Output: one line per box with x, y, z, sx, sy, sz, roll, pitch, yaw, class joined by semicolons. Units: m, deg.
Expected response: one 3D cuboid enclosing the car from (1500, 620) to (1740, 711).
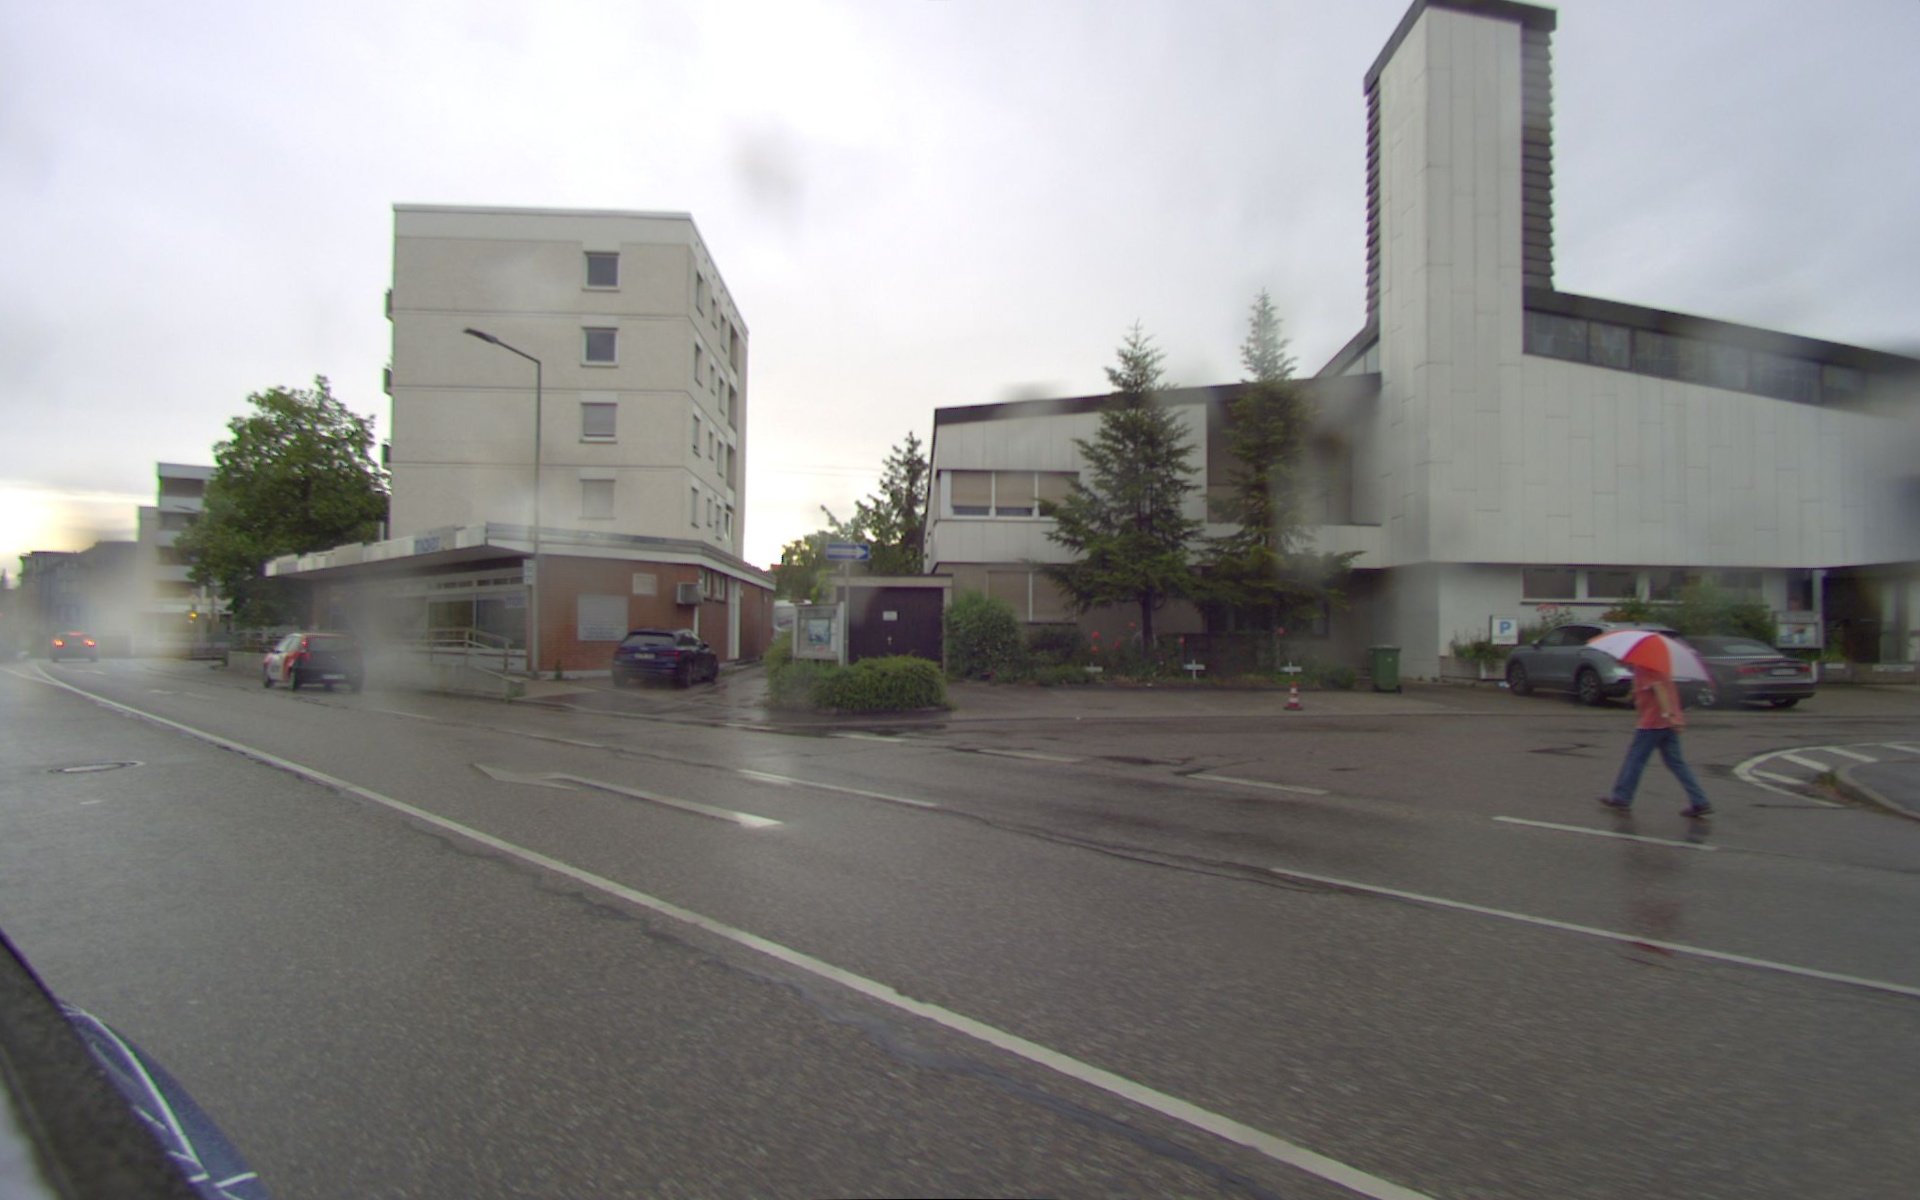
13.061;1.237;20.444;2.104;1.627;4.383;0;-2;3;car

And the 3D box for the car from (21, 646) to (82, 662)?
-93.300;5.553;103.954;4.557;1.508;1.931;2;-4;-44;car

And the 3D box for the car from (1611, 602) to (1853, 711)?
15.735;1.127;20.949;1.973;2.029;3.997;0;-2;2;car

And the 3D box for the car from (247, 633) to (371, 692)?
-17.138;1.659;26.576;3.999;1.420;1.679;-3;-6;42;car

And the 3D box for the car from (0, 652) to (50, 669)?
-98.462;6.266;105.136;5.388;1.697;2.153;0;-3;-14;car

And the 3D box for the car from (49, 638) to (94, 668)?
-48.563;2.898;55.281;1.781;1.569;4.323;1;-3;-42;car

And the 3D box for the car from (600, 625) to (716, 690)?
-7.741;1.427;26.360;1.970;1.558;4.475;0;-2;-4;car

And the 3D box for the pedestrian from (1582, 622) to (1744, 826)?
6.085;1.008;8.770;1.102;1.619;0.861;0;-2;37;pedestrian
